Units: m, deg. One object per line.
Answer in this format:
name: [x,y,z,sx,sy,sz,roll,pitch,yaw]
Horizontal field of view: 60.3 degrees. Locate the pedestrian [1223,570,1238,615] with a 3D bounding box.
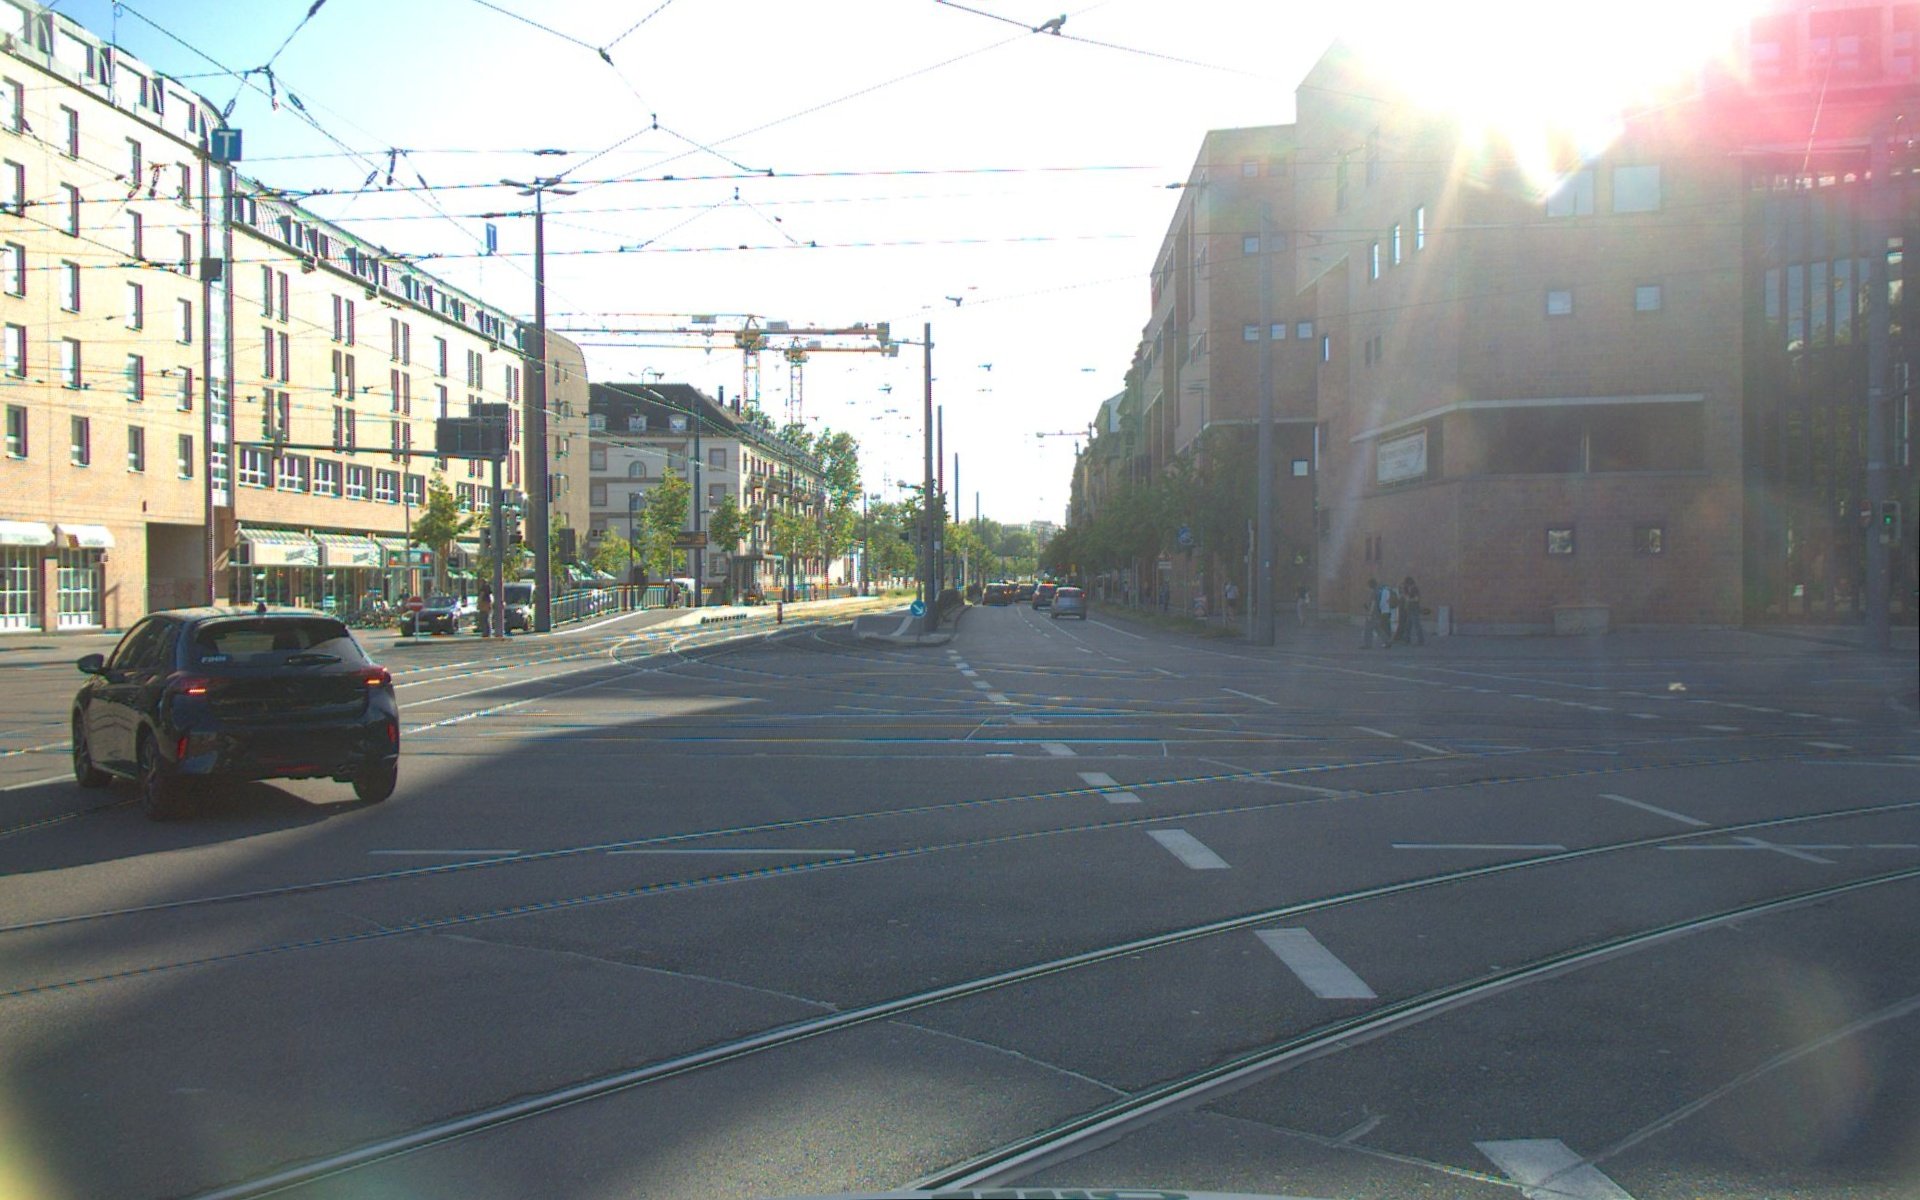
pedestrian: [11.084,-0.300,67.830,0.536,1.817,0.574,-1,3,5]

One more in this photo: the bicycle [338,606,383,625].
bicycle: [-27.365,0.706,75.511,1.990,0.860,0.483,-1,0,13]

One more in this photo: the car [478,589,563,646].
car: [-15.616,0.588,58.928,1.801,1.868,4.108,-2,0,1]

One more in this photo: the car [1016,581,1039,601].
car: [5.329,-0.726,130.173,1.685,1.479,3.699,-1,1,3]

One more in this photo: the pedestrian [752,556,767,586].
pedestrian: [-11.465,-1.679,94.703,0.844,1.699,0.736,0,1,-8]

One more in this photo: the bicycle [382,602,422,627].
bicycle: [-24.097,0.623,71.425,0.793,1.008,2.509,-1,1,1]

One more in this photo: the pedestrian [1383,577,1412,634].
pedestrian: [11.625,0.140,43.953,0.538,1.503,0.571,-1,1,-15]

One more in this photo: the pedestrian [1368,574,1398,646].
pedestrian: [10.752,0.254,42.041,0.560,1.817,0.548,-1,0,-5]

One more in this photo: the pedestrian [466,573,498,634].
pedestrian: [-14.046,0.099,48.631,0.706,1.757,0.595,-1,0,4]

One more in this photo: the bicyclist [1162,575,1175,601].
bicyclist: [10.863,-0.626,86.107,0.632,1.362,0.653,-1,0,4]

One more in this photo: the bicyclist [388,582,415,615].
bicyclist: [-24.114,-0.057,71.398,0.793,1.401,0.926,-1,1,1]

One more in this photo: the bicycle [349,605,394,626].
bicycle: [-27.360,0.716,76.865,1.990,0.937,0.483,-1,0,13]

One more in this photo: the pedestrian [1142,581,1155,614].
pedestrian: [10.441,-0.153,91.810,0.627,1.817,0.689,-1,0,3]

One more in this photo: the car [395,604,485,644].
car: [-18.780,0.837,59.900,1.801,1.290,4.230,-3,0,1]

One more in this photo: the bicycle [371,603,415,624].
bicycle: [-26.736,0.653,77.977,1.990,0.937,0.483,-1,0,13]

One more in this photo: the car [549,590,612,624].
car: [-17.801,0.302,77.783,1.801,1.473,4.299,-3,0,1]

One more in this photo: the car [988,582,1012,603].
car: [3.018,-0.574,124.123,1.685,1.479,3.699,-1,1,3]

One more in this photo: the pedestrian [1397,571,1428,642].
pedestrian: [11.663,0.169,42.634,0.560,1.817,0.548,-1,0,-5]

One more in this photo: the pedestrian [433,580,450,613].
pedestrian: [-28.554,-0.191,91.096,0.701,1.795,0.566,-2,0,5]

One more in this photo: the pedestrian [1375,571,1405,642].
pedestrian: [11.149,0.166,42.876,0.560,1.817,0.548,-1,0,-5]

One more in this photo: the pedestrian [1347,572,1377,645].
pedestrian: [10.142,0.219,41.728,0.560,1.817,0.548,-1,0,-5]

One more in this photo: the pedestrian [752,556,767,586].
pedestrian: [-11.600,-1.692,95.471,0.844,1.699,0.783,0,1,-8]

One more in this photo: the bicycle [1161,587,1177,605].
bicycle: [10.858,-0.217,85.971,0.635,0.920,2.347,-1,1,4]

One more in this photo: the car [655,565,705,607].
car: [-21.184,-1.109,125.557,2.328,3.050,8.471,-1,1,0]

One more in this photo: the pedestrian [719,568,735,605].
pedestrian: [-12.187,-0.714,86.492,0.844,1.919,0.736,0,1,-8]

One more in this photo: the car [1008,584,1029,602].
car: [4.992,-0.581,140.290,1.685,1.479,3.699,-1,1,3]

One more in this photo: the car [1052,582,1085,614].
car: [5.202,-0.128,79.262,1.527,1.481,3.433,-1,1,4]

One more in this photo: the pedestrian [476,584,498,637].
pedestrian: [-14.543,0.311,50.854,0.570,1.604,0.645,-1,0,-11]

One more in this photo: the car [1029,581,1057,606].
car: [5.138,-0.409,102.583,1.636,1.479,3.699,-1,1,3]

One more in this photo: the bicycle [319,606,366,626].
bicycle: [-27.620,0.723,73.995,1.990,0.860,0.483,-1,0,13]

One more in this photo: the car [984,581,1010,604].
car: [2.568,-0.512,113.798,1.685,1.479,3.699,-1,1,3]

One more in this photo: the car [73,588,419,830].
car: [-5.632,0.736,12.815,1.659,1.528,3.643,3,0,-36]

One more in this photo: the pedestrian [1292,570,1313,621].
pedestrian: [12.233,-0.166,59.081,0.626,1.817,0.689,-1,0,5]
